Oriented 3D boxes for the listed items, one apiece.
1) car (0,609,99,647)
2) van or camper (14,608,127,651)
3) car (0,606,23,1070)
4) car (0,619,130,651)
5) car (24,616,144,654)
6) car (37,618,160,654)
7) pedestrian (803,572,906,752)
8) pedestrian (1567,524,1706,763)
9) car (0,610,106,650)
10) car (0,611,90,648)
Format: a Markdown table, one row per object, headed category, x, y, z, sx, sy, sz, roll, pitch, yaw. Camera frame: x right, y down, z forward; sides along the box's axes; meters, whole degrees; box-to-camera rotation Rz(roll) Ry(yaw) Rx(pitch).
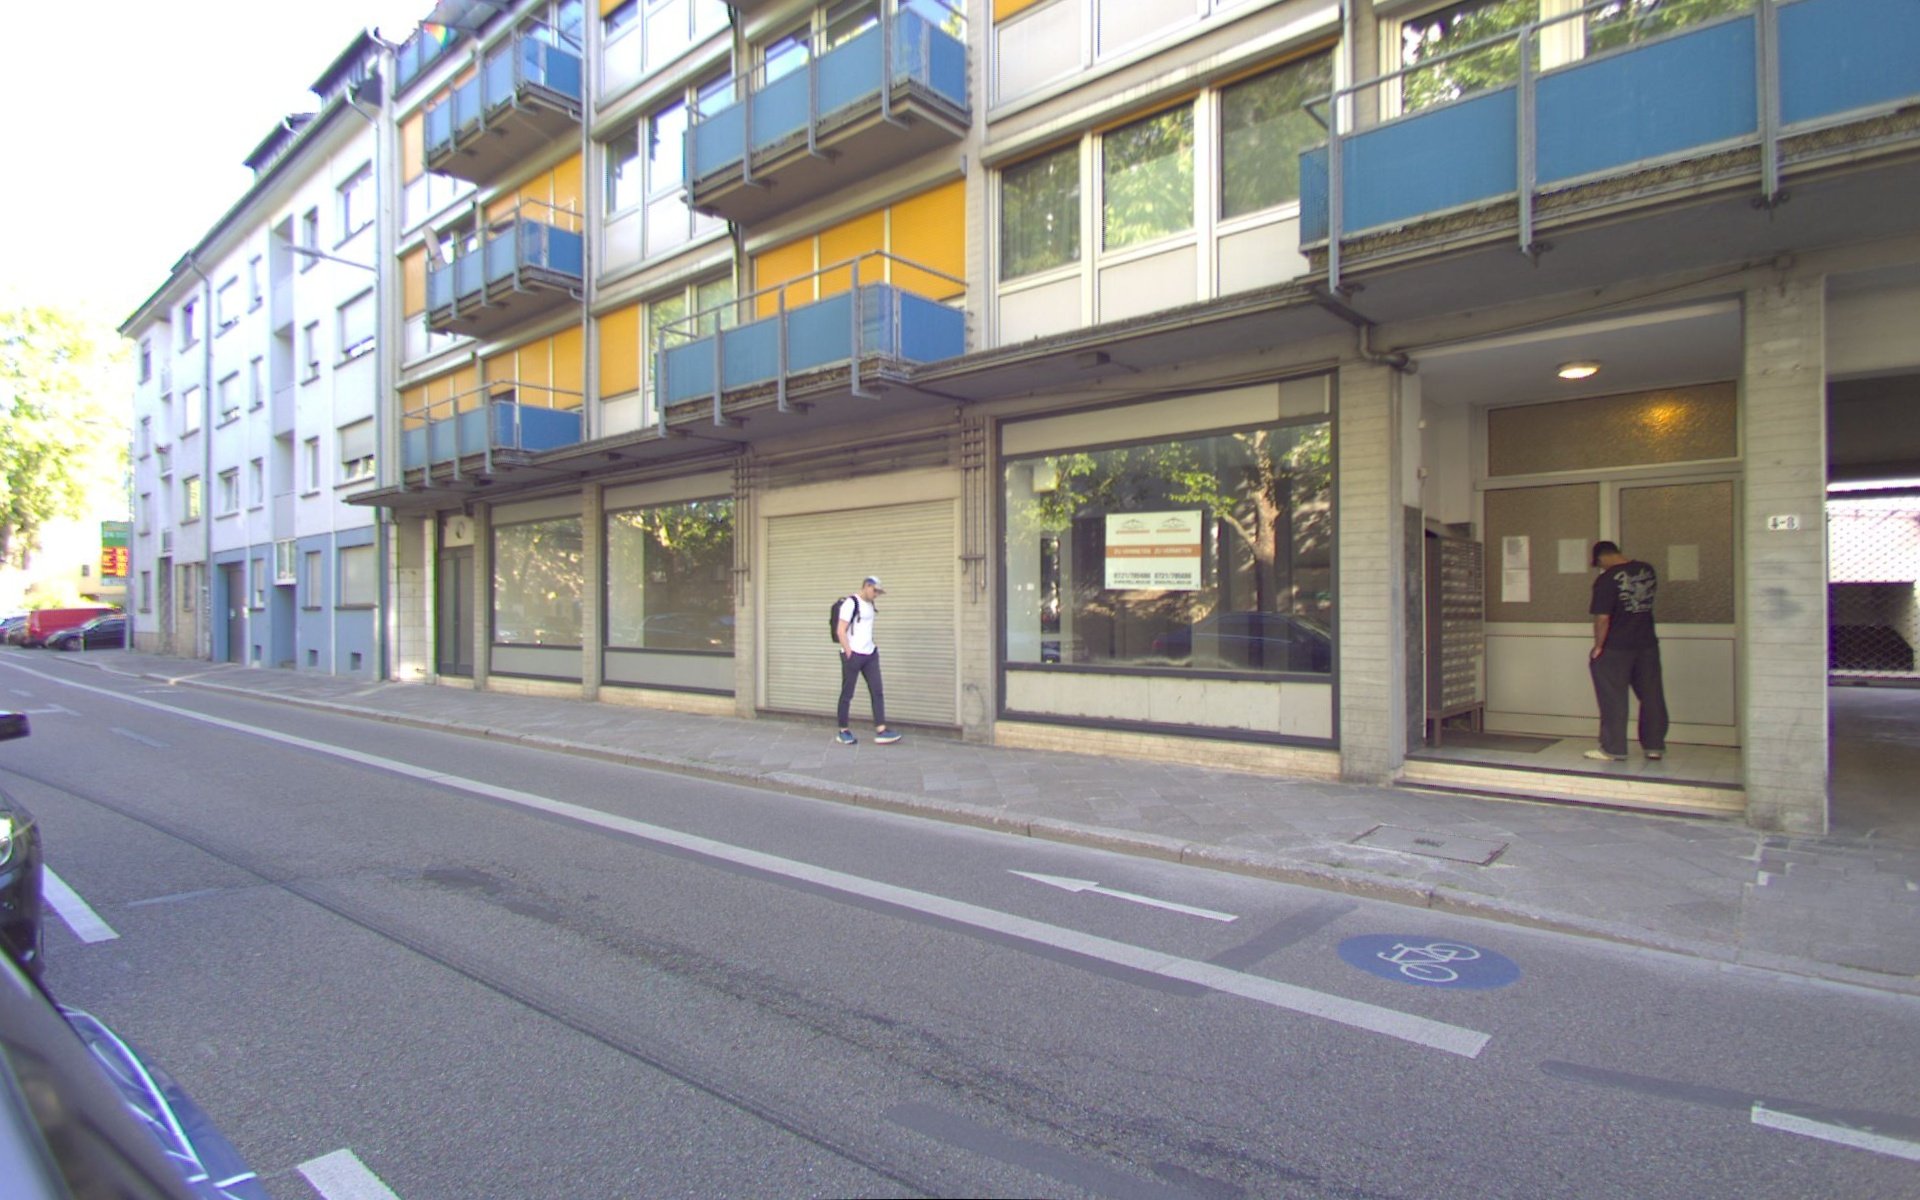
| category | x | y | z | sx | sy | sz | roll | pitch | yaw |
| --- | --- | --- | --- | --- | --- | --- | --- | --- | --- |
| car | -55.405 | 1.668 | 61.139 | 1.999 | 2.210 | 4.927 | -1 | -1 | 41 |
| van or camper | -43.891 | 1.427 | 49.998 | 1.999 | 2.029 | 3.946 | -1 | -1 | 40 |
| car | -5.030 | 0.788 | 3.837 | 3.861 | 1.467 | 1.718 | -1 | -1 | 40 |
| car | -45.723 | 1.748 | 51.690 | 1.999 | 1.506 | 4.927 | -1 | -1 | 41 |
| car | -41.635 | 1.617 | 48.156 | 1.999 | 1.703 | 4.093 | -1 | -1 | 41 |
| car | -39.754 | 1.629 | 46.772 | 1.999 | 1.506 | 4.093 | -1 | -1 | 41 |
| pedestrian | -1.122 | 0.624 | 10.709 | 0.879 | 1.813 | 0.593 | -1 | 0 | 41 |
| pedestrian | 5.109 | 0.312 | 7.659 | 0.650 | 1.726 | 0.550 | 0 | -1 | -16 |
| car | -53.317 | 1.733 | 59.188 | 1.999 | 2.210 | 4.927 | -1 | -1 | 41 |
| car | -57.398 | 1.818 | 62.848 | 1.999 | 2.210 | 4.927 | -1 | -1 | 41 |
